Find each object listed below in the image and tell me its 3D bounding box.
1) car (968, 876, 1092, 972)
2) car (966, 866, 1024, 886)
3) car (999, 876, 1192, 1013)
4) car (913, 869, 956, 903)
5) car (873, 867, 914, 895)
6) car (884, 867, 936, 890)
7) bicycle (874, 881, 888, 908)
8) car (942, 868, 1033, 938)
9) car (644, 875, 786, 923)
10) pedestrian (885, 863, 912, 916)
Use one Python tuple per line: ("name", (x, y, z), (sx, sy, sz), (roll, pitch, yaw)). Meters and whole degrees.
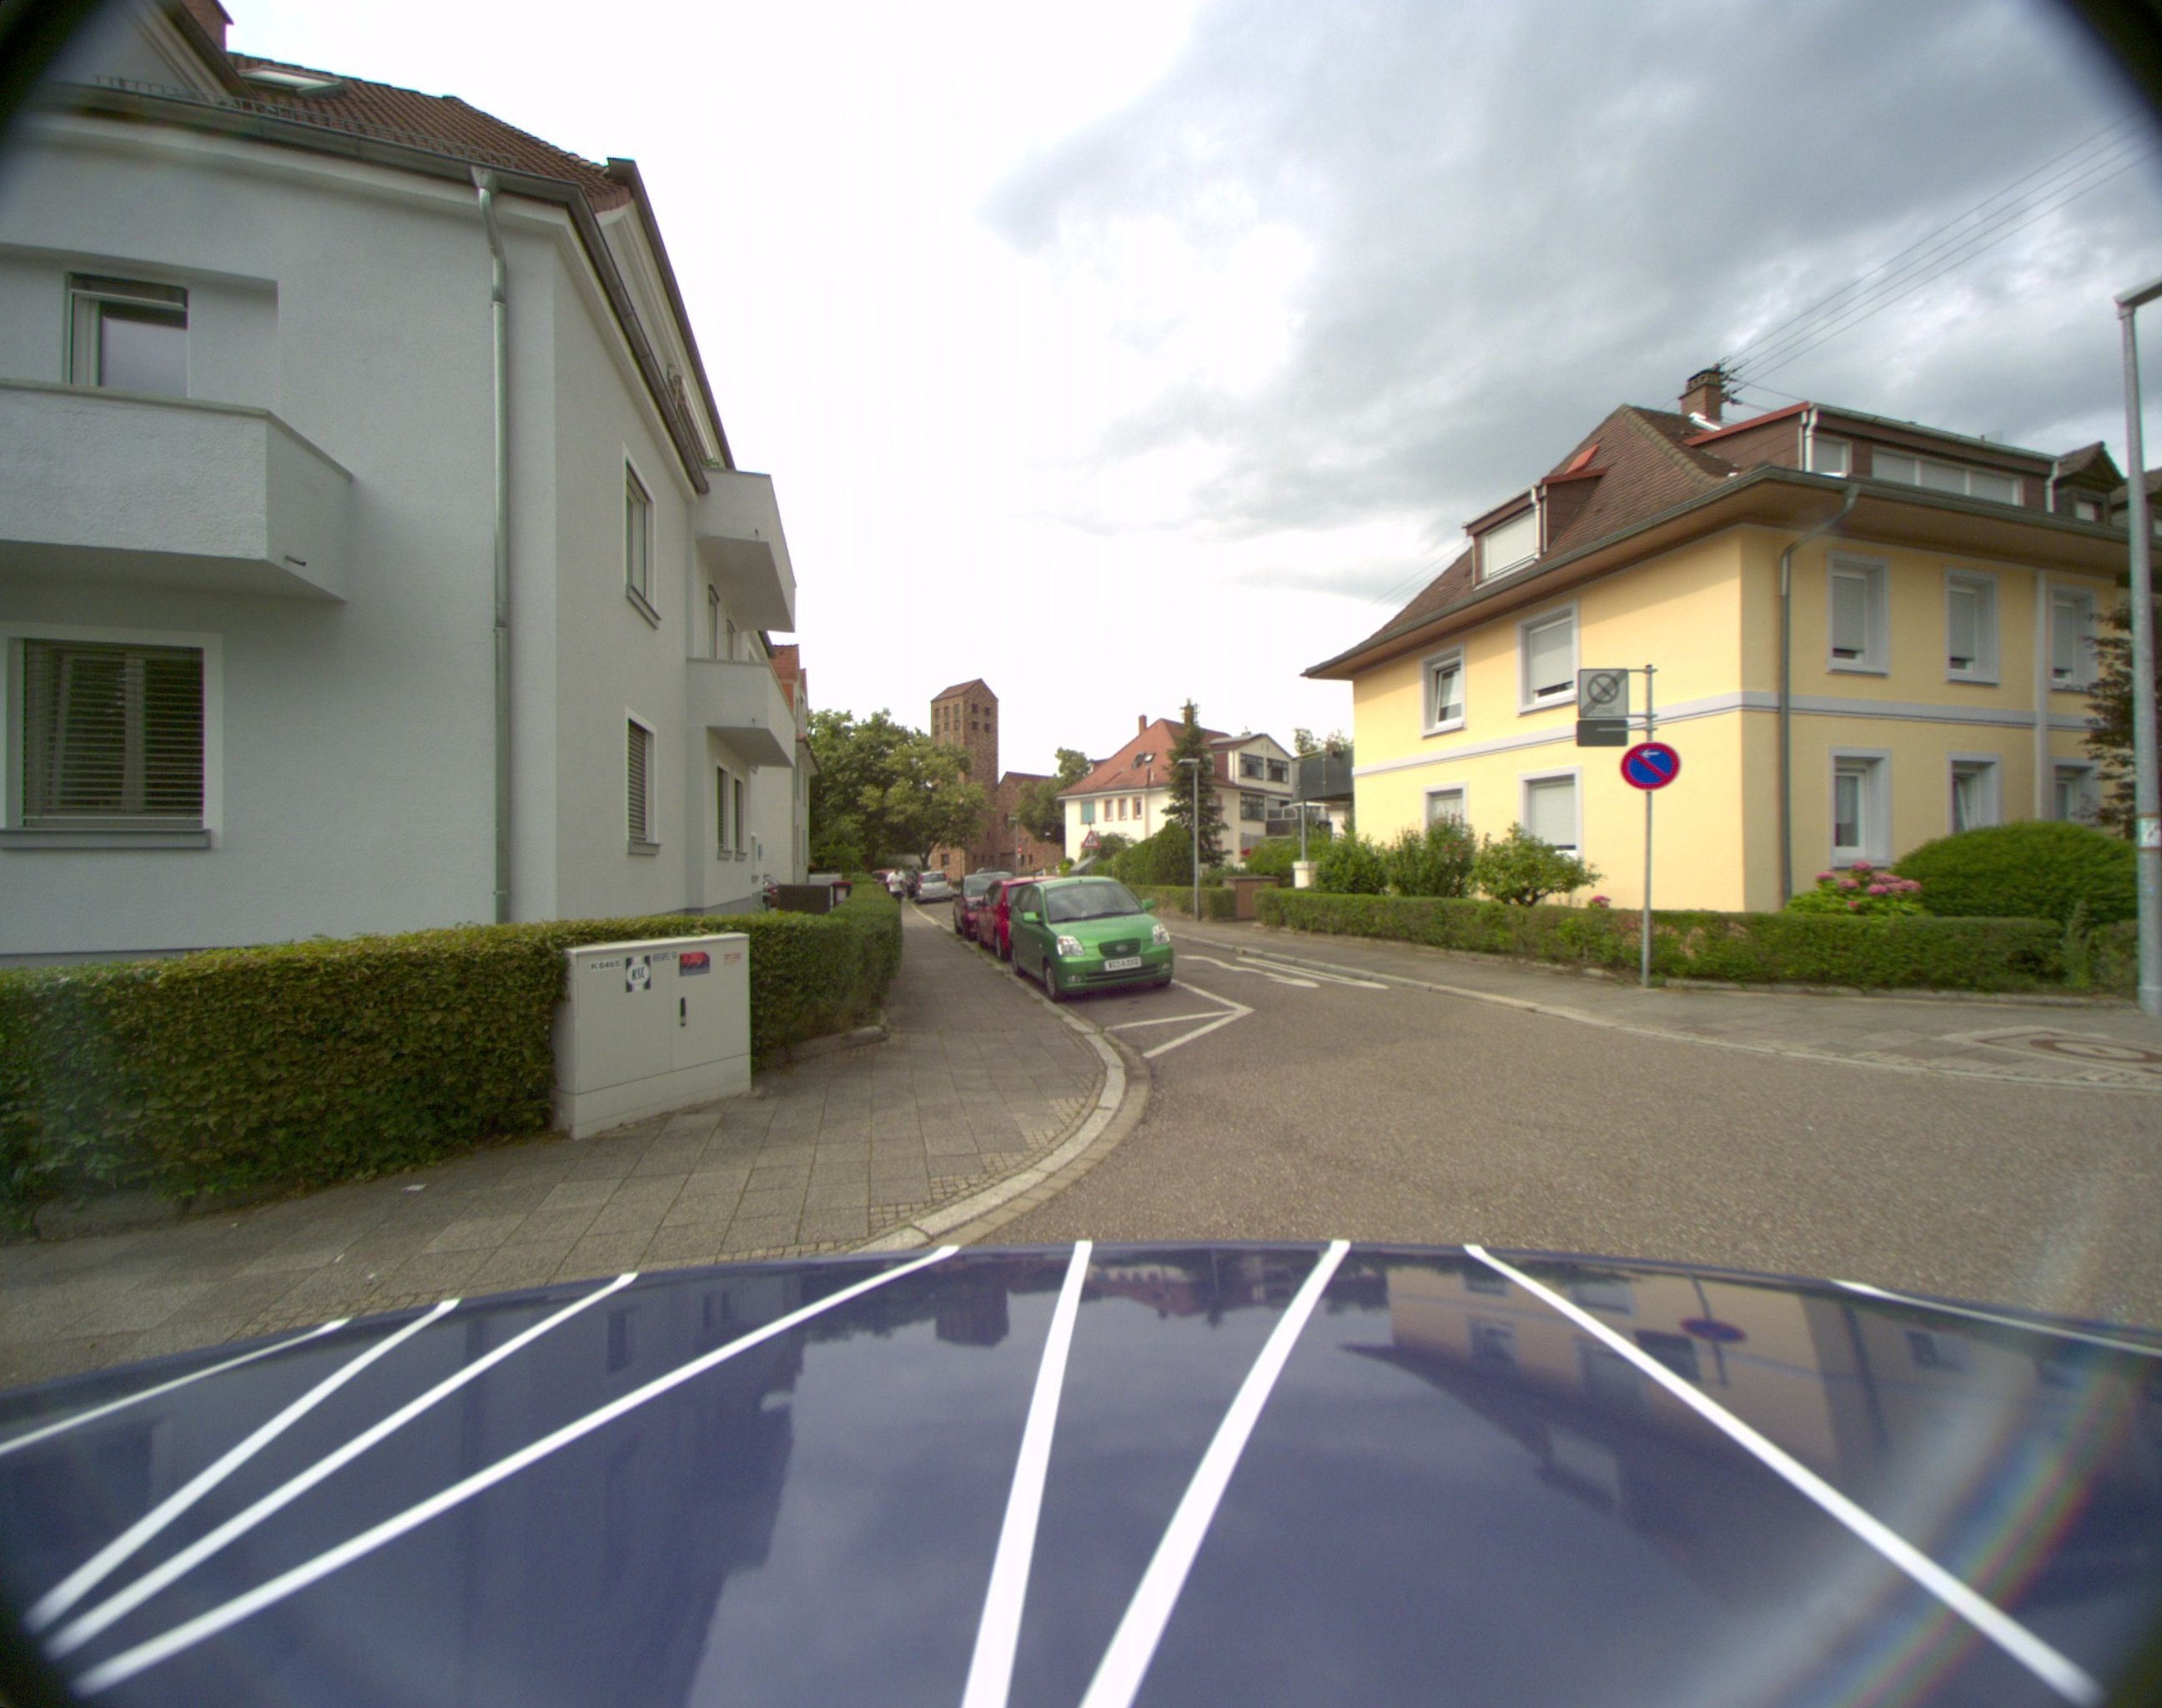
("car", (-1.132, 1.273, 15.100), (1.652, 1.487, 3.477), (-4, 0, -16))
("car", (-6.718, 1.671, 59.338), (4.230, 1.456, 1.681), (0, 1, -16))
("car", (0.021, 1.102, 10.642), (1.652, 1.413, 3.477), (-4, 0, -16))
("car", (-7.188, 1.517, 37.022), (1.652, 1.487, 3.477), (-4, 0, -16))
("car", (-11.310, 1.594, 45.695), (1.653, 1.487, 3.475), (-4, 0, -24))
("car", (-11.657, 1.647, 51.695), (1.859, 1.472, 4.030), (2, -1, -39))
("bicycle", (-8.690, 1.726, 32.990), (0.423, 1.097, 2.112), (0, 0, -20))
("car", (-2.457, 1.152, 19.229), (1.652, 1.487, 3.477), (-4, 0, -16))
("car", (-12.209, 1.465, 25.633), (4.002, 1.455, 1.998), (0, -1, -15))
("pedestrian", (-6.638, 1.269, 27.627), (0.884, 1.867, 1.077), (-1, 0, -15))
